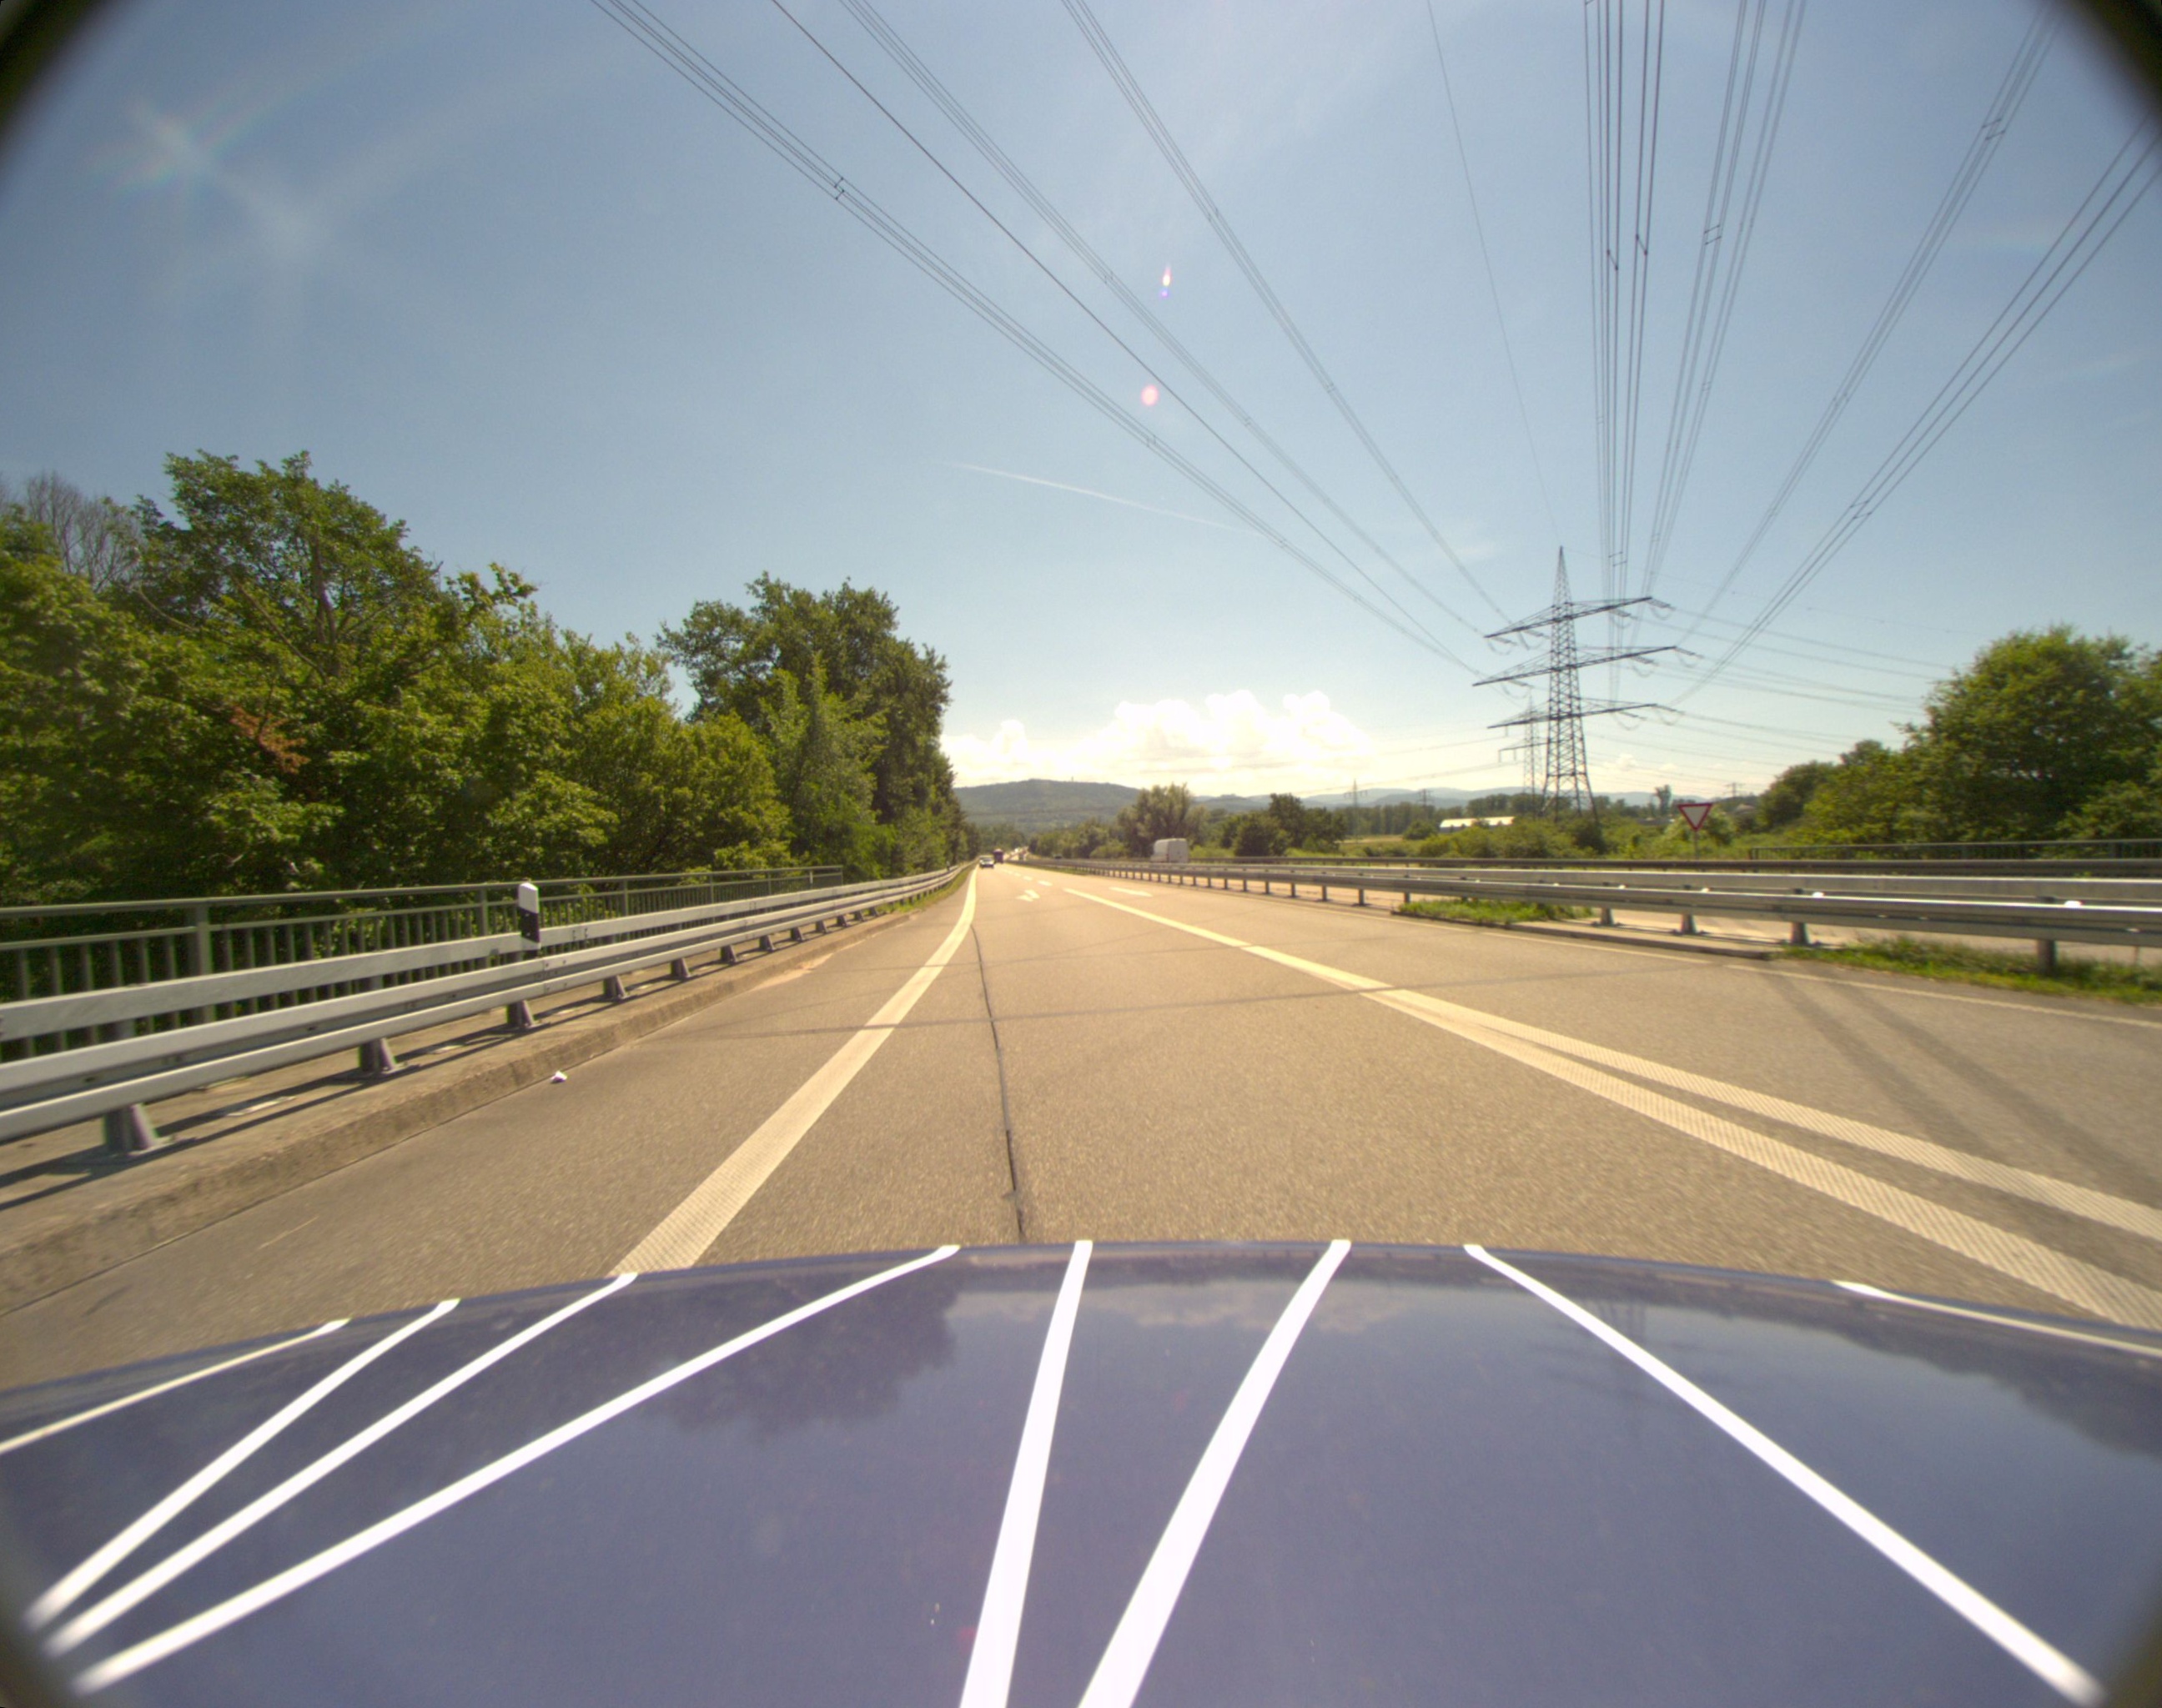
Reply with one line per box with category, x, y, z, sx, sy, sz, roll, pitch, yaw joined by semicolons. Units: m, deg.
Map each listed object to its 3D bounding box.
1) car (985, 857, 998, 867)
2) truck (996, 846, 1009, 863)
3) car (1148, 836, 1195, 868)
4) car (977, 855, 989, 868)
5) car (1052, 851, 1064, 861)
car;-13.215;1.146;112.187;1.578;1.387;3.484;-2;1;-3
truck;-20.672;0.060;201.115;2.828;4.143;9.944;-2;1;-3
car;7.929;-0.167;67.292;2.532;2.603;7.181;0;0;-7
car;-16.583;1.249;128.503;1.620;2.086;3.484;-2;1;-3
car;-4.800;0.457;158.663;1.897;1.981;5.528;-1;0;-9
